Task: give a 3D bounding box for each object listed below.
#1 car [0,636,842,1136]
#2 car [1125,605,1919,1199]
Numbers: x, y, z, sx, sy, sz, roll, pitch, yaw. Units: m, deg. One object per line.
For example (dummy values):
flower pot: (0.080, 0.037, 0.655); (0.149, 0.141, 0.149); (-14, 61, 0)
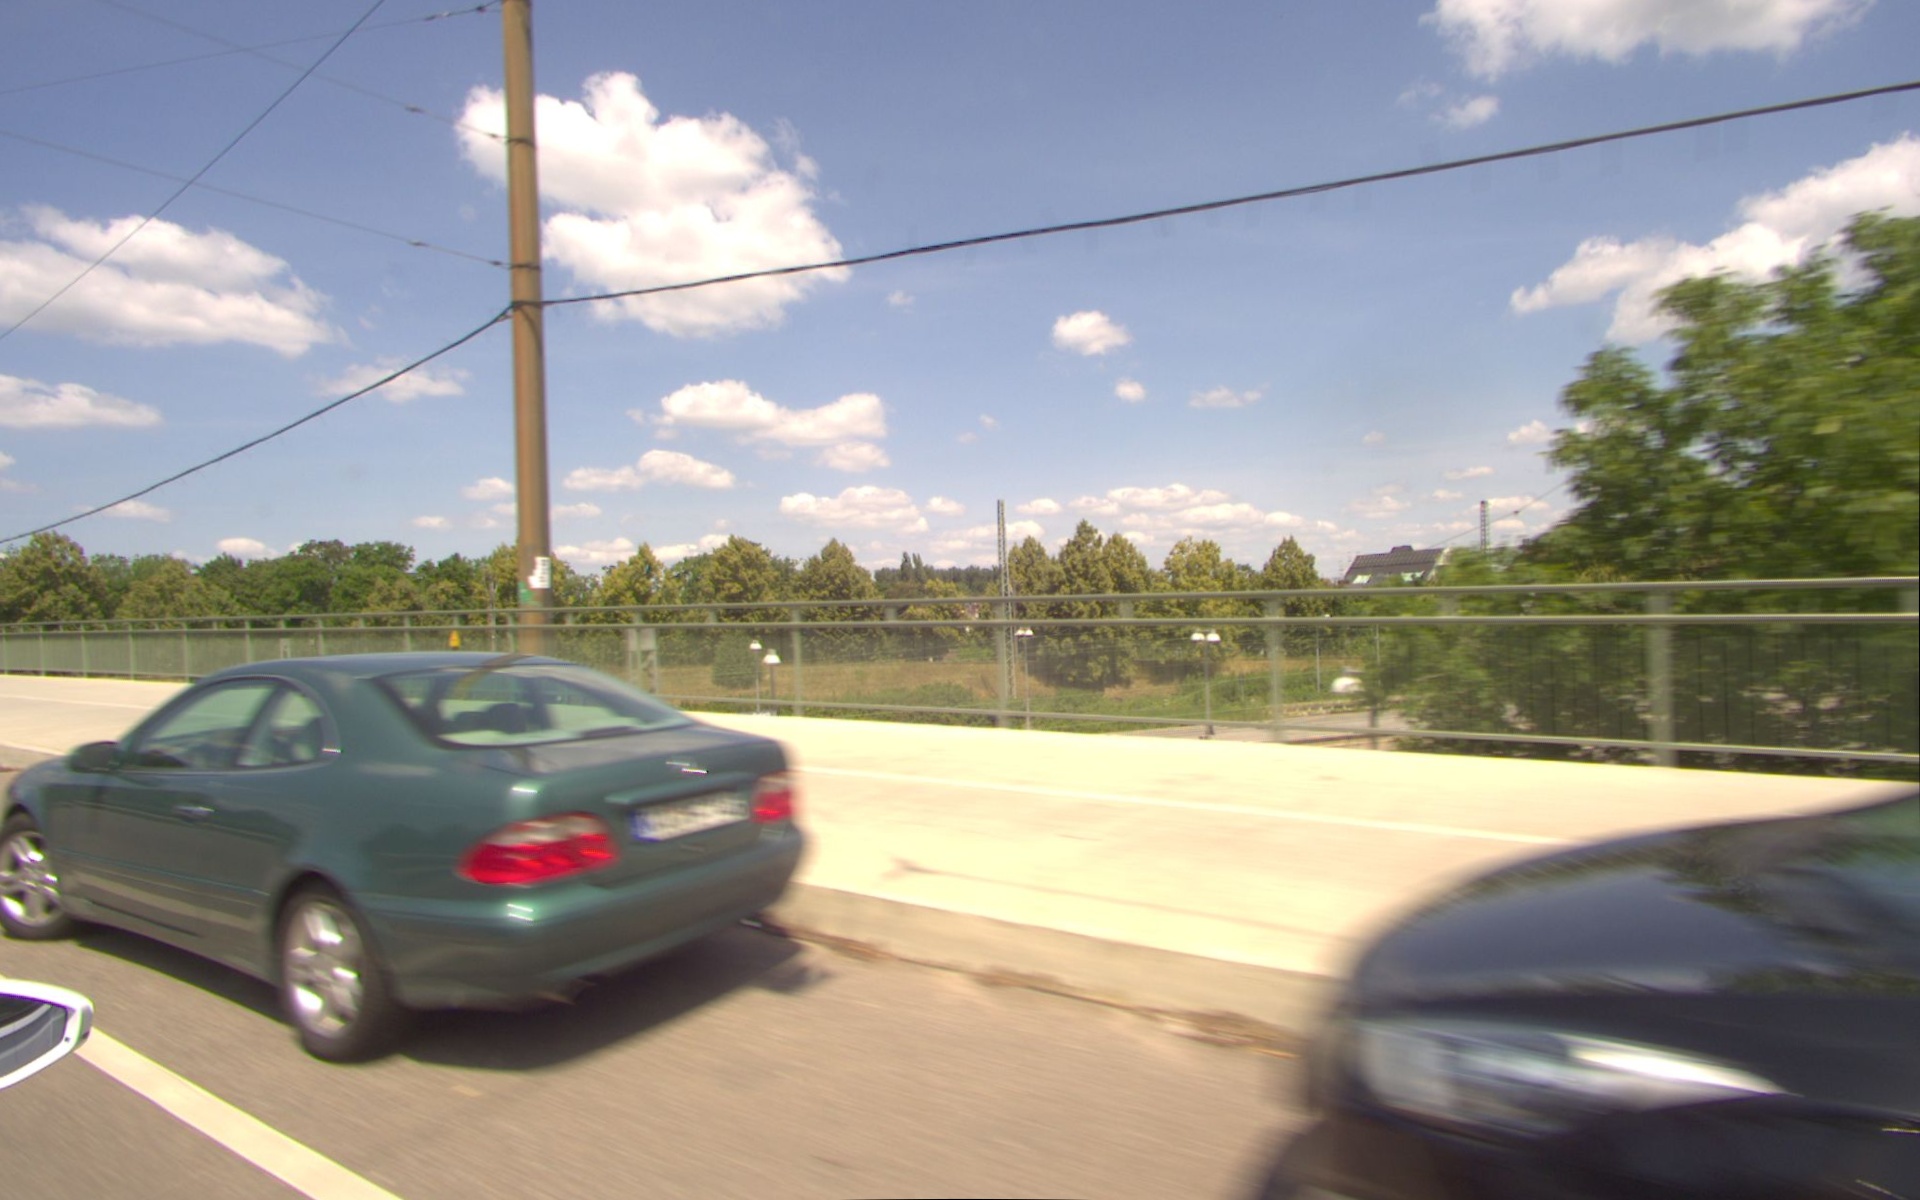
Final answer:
car: (-2.878, 0.892, 4.770); (4.524, 1.376, 1.682); (0, -1, 31)
car: (2.536, 0.749, 1.257); (4.324, 1.472, 1.632); (0, -1, 32)
